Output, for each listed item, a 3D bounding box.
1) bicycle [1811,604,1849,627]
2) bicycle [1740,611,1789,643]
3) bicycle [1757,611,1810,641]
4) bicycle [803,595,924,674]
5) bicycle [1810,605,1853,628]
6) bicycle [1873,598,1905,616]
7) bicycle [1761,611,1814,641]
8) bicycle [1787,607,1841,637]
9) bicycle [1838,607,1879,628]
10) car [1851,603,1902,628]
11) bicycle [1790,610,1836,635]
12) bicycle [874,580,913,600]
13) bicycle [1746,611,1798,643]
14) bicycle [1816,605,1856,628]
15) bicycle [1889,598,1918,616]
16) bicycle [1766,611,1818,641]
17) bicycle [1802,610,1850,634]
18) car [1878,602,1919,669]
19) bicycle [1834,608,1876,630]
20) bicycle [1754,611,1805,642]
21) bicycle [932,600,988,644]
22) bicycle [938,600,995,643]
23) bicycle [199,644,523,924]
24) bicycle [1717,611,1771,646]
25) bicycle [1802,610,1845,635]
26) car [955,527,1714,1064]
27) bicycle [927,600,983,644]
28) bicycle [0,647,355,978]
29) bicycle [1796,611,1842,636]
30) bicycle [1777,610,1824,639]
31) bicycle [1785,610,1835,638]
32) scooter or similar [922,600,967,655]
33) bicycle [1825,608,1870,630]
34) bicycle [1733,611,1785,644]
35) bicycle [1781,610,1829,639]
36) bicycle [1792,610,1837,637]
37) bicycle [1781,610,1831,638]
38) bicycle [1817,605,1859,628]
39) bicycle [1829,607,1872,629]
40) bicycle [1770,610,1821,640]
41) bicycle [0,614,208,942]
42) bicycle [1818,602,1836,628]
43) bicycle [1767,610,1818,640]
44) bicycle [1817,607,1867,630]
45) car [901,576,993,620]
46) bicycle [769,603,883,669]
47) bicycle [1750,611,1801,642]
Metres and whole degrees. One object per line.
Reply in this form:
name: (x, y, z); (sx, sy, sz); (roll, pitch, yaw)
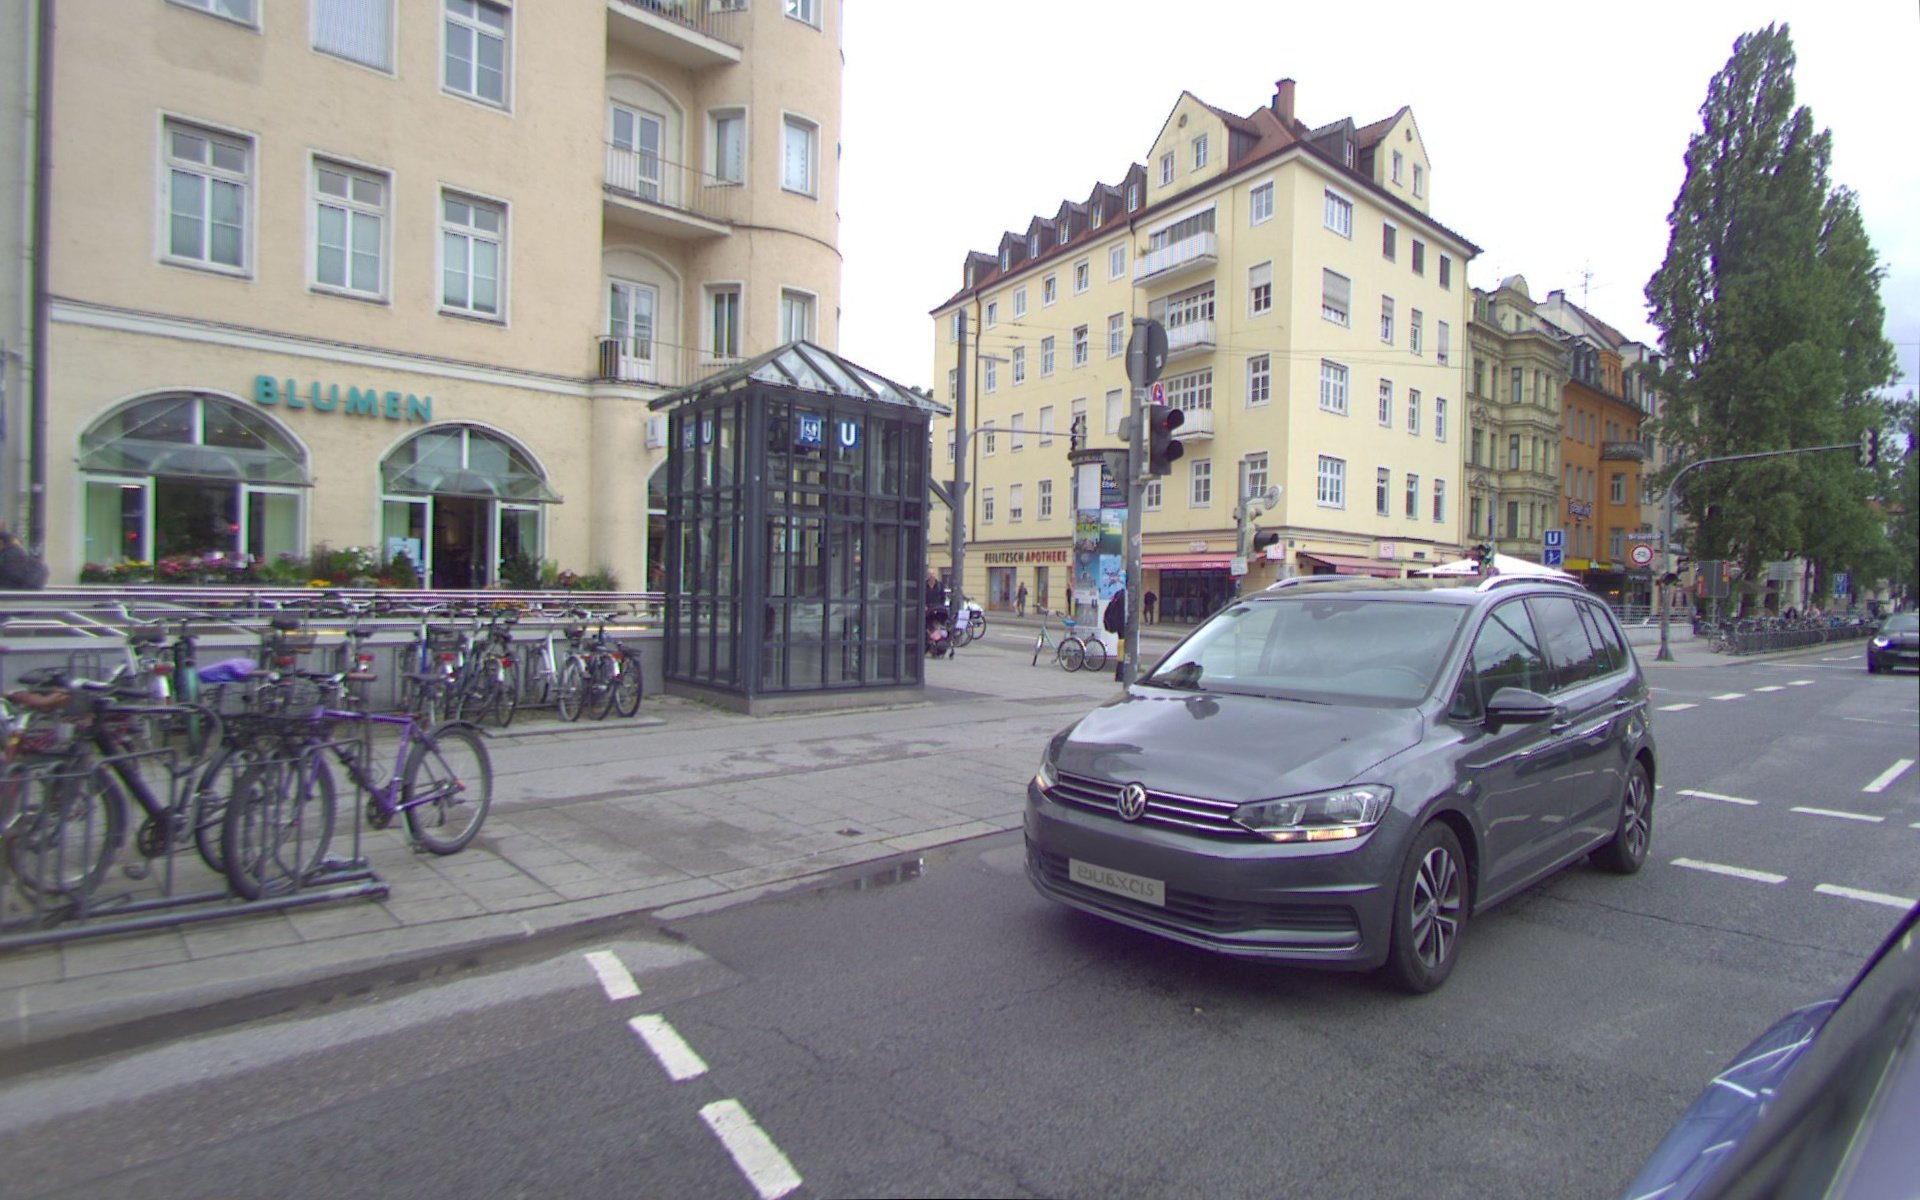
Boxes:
bicycle: (39.235, 0.683, 45.658); (0.319, 1.008, 1.839); (1, -1, 6)
bicycle: (27.996, 0.930, 35.245); (0.342, 1.008, 1.840); (1, 2, 5)
bicycle: (29.993, 0.935, 36.896); (0.341, 1.008, 1.843); (1, 2, -2)
bicycle: (-1.450, 0.501, 15.376); (1.834, 1.121, 0.567); (1, 1, -41)
bicycle: (38.529, 0.731, 44.773); (0.319, 1.008, 1.841); (1, -1, 1)
bicycle: (61.112, 0.436, 66.570); (0.352, 1.116, 1.747); (1, 1, -6)
bicycle: (30.495, 0.937, 37.315); (0.341, 1.008, 1.843); (1, 2, -2)
bicycle: (35.057, 0.886, 41.571); (0.457, 1.126, 1.845); (2, 1, -9)
bicycle: (44.198, 0.872, 49.799); (0.368, 1.008, 1.841); (1, -1, 0)
car: (56.574, 0.927, 62.478); (4.453, 1.458, 1.996); (1, 1, -44)
bicycle: (35.514, 0.929, 42.175); (0.319, 1.008, 1.842); (1, -1, -1)
bicycle: (-4.342, -0.629, 65.762); (2.429, 1.257, 0.757); (1, 0, -14)
bicycle: (28.486, 0.930, 35.530); (0.341, 1.008, 1.842); (1, 2, 2)
bicycle: (38.924, 0.730, 44.978); (0.319, 1.008, 1.839); (1, -1, 5)
bicycle: (61.996, 0.467, 66.521); (0.353, 1.116, 1.743); (1, 1, 4)
bicycle: (30.996, 0.939, 37.746); (0.341, 1.008, 1.843); (1, 2, -2)
bicycle: (36.898, 0.932, 43.138); (0.319, 1.008, 1.843); (1, -1, -5)
car: (24.260, 0.847, 25.127); (3.902, 1.523, 1.778); (-1, 1, -42)
bicycle: (43.675, 0.914, 49.399); (0.368, 1.008, 1.843); (1, -1, -3)
bicycle: (29.492, 0.934, 36.443); (0.341, 1.008, 1.842); (1, 2, 2)
bicycle: (-0.009, 0.546, 25.898); (1.573, 1.046, 0.245); (2, 1, 36)
bicycle: (0.172, 0.553, 26.599); (1.573, 1.046, 0.353); (2, 1, 36)
bicycle: (-2.813, 0.787, 4.959); (0.491, 1.041, 1.599); (1, 1, 6)
bicycle: (25.334, 0.916, 32.734); (0.341, 1.008, 1.841); (1, 2, 3)
bicycle: (36.560, 0.948, 42.869); (0.319, 1.008, 1.840); (1, -1, 3)
car: (2.291, 0.627, 5.354); (4.625, 1.668, 1.774); (1, -1, -41)
bicycle: (-0.142, 0.545, 25.669); (1.573, 1.046, 0.245); (2, 1, 36)
bicycle: (-3.393, 0.778, 4.343); (0.491, 1.041, 1.599); (1, 1, 6)
bicycle: (36.010, 0.960, 42.464); (0.319, 1.008, 1.842); (1, -1, -1)
bicycle: (32.518, 0.945, 39.173); (0.341, 1.008, 1.841); (1, 2, 2)
bicycle: (34.027, 0.951, 40.541); (0.341, 1.008, 1.843); (1, 2, -1)
scooter or similar: (-0.302, 0.529, 19.646); (0.581, 1.007, 0.824); (4, -1, -18)
bicycle: (41.706, 0.864, 47.592); (0.368, 1.008, 1.843); (1, -1, -4)
bicycle: (26.967, 0.924, 34.170); (0.341, 1.008, 1.841); (1, 2, 3)
bicycle: (33.063, 0.947, 39.621); (0.341, 1.008, 1.841); (1, 2, 2)
bicycle: (34.623, 0.953, 41.014); (0.319, 1.008, 1.841); (1, 1, 3)
bicycle: (33.523, 0.950, 40.125); (0.341, 1.008, 1.843); (1, 2, -1)
bicycle: (39.624, 0.721, 45.713); (0.319, 1.008, 1.841); (1, -1, 1)
bicycle: (42.687, 0.868, 48.537); (0.368, 1.008, 1.843); (1, -1, -4)
bicycle: (32.005, 0.944, 38.778); (0.341, 1.008, 1.843); (1, 2, -2)
bicycle: (-3.929, 0.693, 3.974); (0.549, 1.213, 1.804); (1, 1, 2)
bicycle: (44.967, 0.778, 52.509); (1.747, 1.304, 0.424); (0, 1, -40)
bicycle: (31.526, 0.942, 38.348); (0.341, 1.008, 1.843); (1, 2, -2)
bicycle: (41.128, 0.860, 47.203); (0.367, 1.008, 1.846); (2, -1, -17)
car: (-0.565, -0.107, 40.247); (1.856, 1.440, 4.005); (7, -2, -29)
bicycle: (-2.124, 0.558, 16.196); (1.834, 0.987, 0.495); (1, 1, -41)
bicycle: (29.004, 0.932, 36.008); (0.341, 1.008, 1.842); (1, 2, 2)
